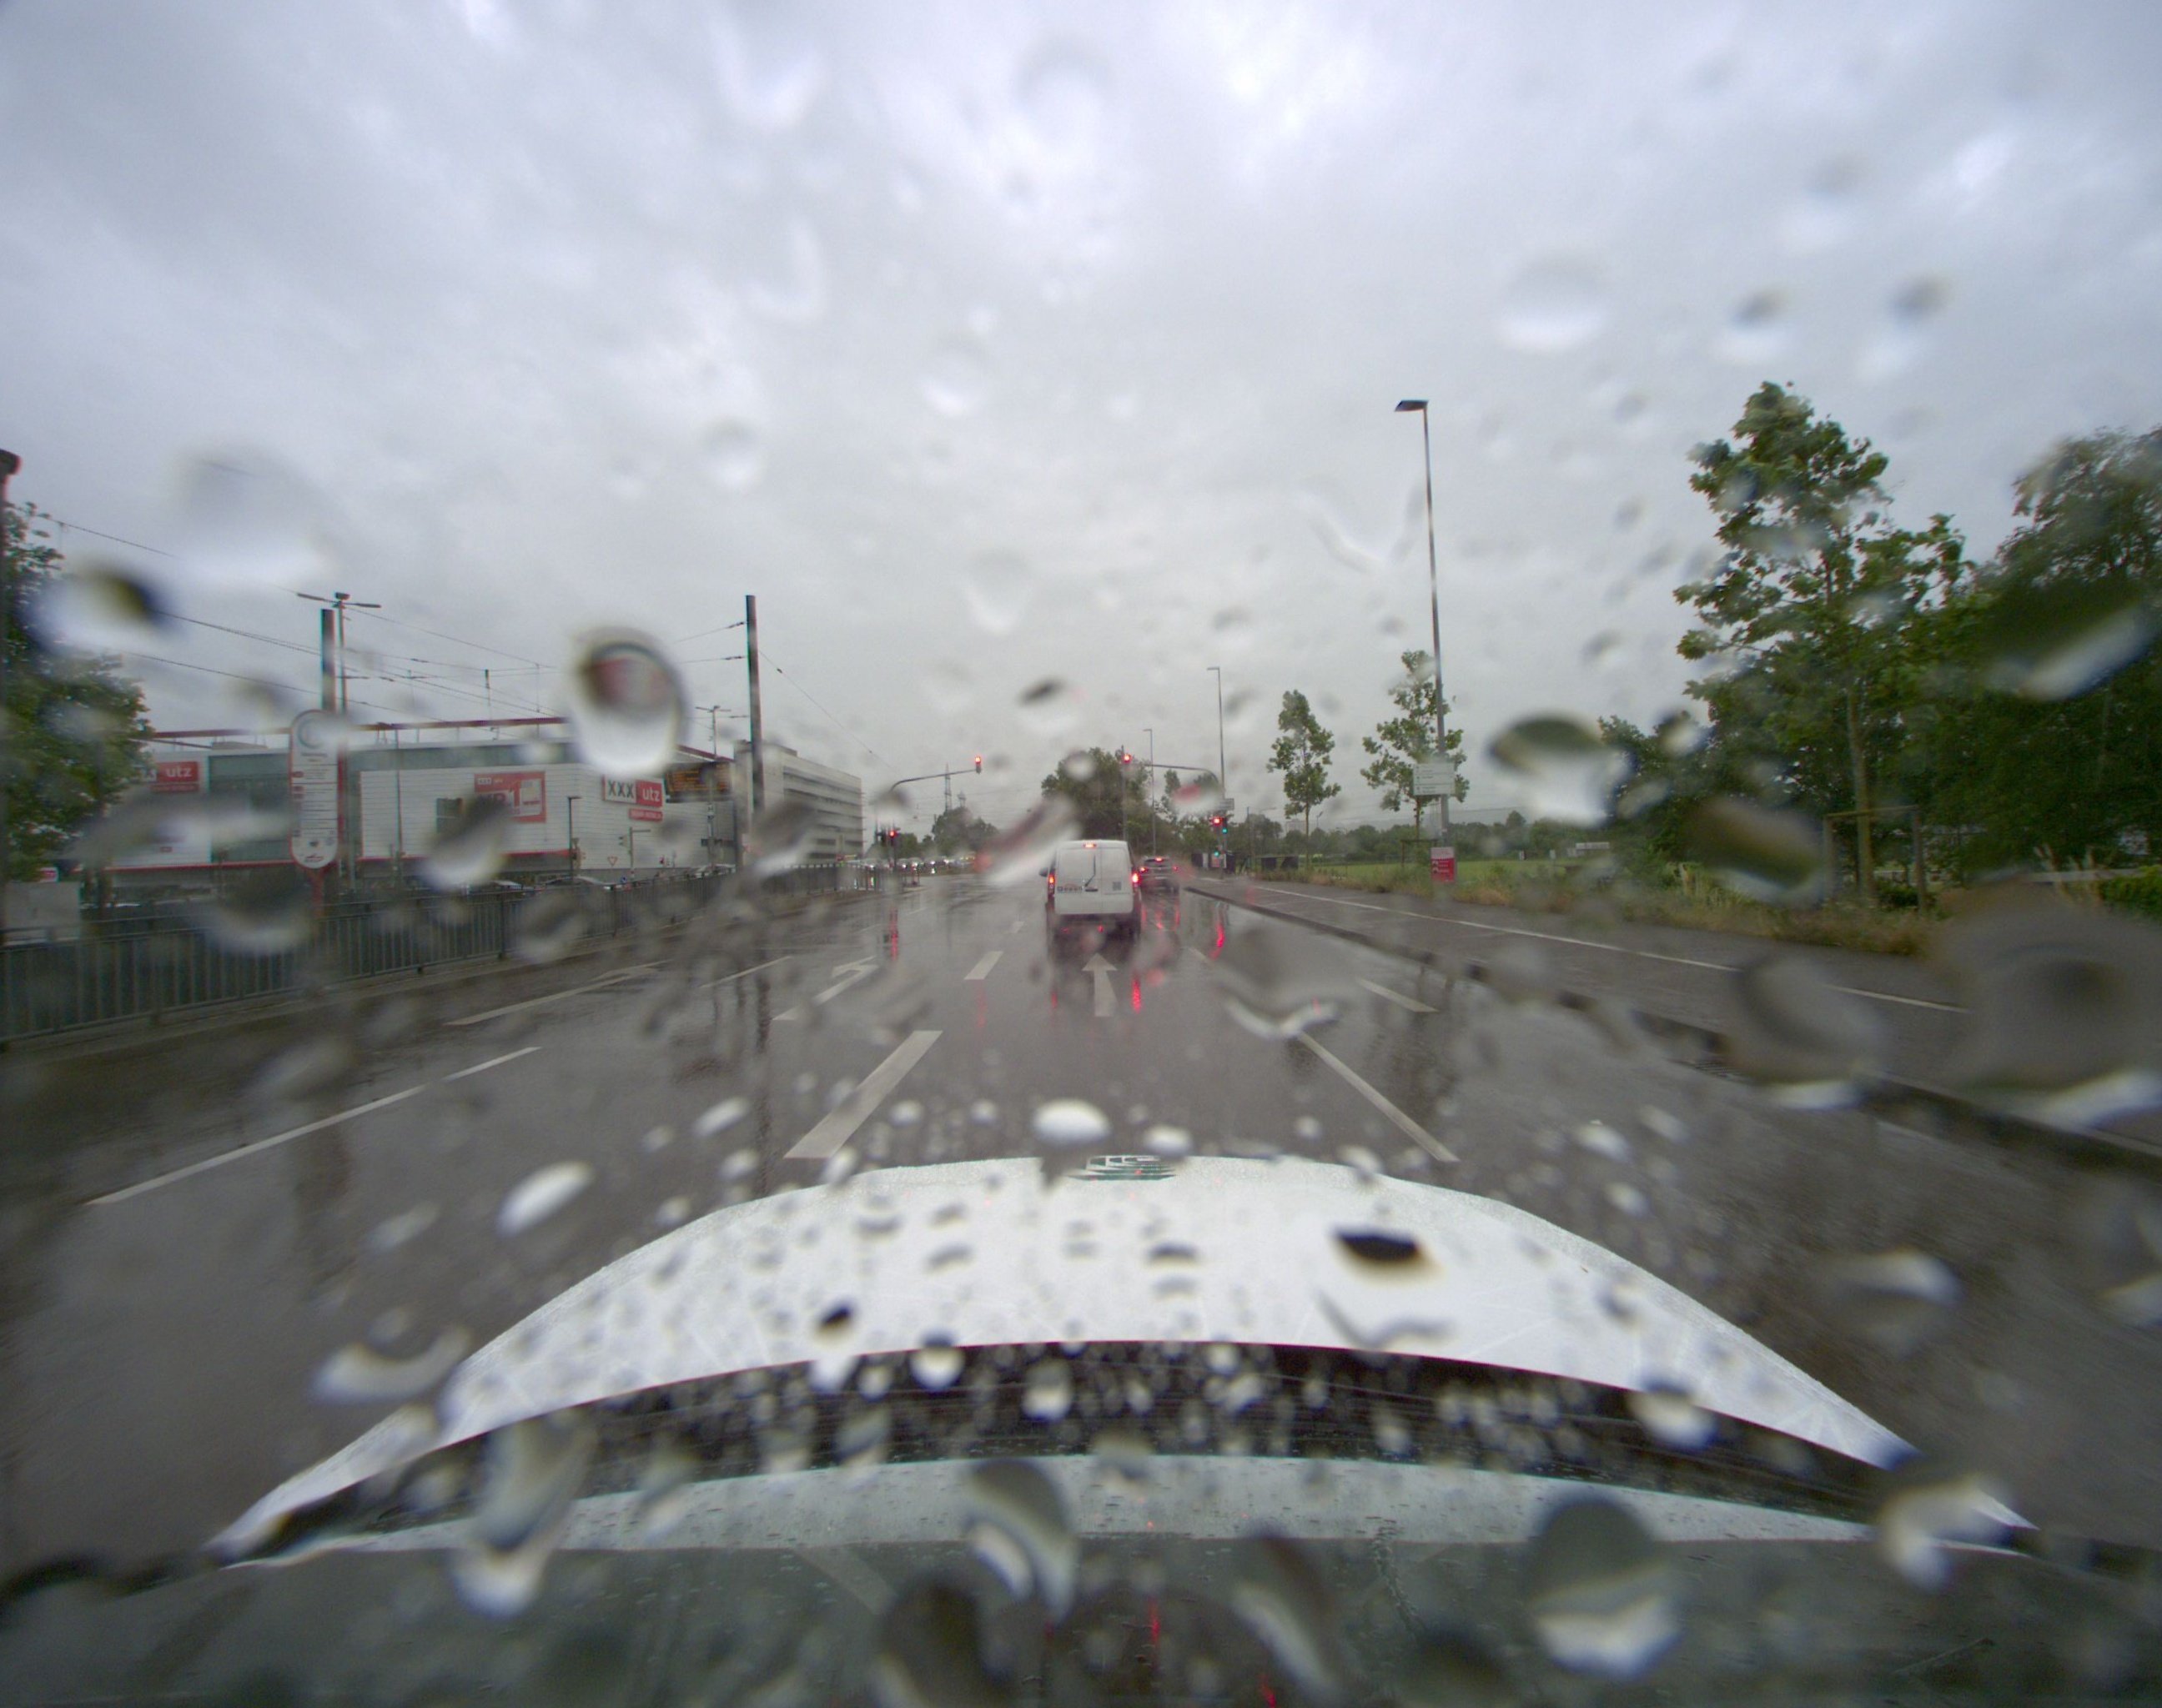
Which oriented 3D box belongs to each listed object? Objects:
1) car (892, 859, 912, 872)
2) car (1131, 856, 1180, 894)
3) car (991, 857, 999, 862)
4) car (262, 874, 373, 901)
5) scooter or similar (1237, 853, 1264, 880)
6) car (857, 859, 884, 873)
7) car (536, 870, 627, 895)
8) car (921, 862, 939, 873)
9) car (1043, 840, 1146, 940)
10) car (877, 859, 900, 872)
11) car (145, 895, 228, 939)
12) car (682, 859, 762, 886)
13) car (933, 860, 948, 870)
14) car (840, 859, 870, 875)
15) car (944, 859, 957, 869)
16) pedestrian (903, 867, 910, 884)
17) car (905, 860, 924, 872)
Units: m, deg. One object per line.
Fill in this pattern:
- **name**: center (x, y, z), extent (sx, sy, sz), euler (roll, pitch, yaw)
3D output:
- **car**: center (-21.076, 1.388, 96.194), extent (1.554, 1.426, 3.568), euler (0, -1, 0)
- **car**: center (3.094, 0.840, 34.466), extent (1.679, 1.508, 3.919), euler (0, -1, -1)
- **car**: center (-21.779, 1.407, 206.918), extent (1.554, 1.426, 3.568), euler (0, -1, 0)
- **car**: center (-44.153, 1.953, 47.185), extent (4.262, 1.502, 1.814), euler (1, -2, -12)
- **scooter or similar**: center (8.037, 0.554, 38.805), extent (0.688, 1.211, 3.021), euler (-2, 0, 1)
- **car**: center (-21.114, 1.209, 81.881), extent (1.705, 1.426, 3.808), euler (0, -1, 0)
- **car**: center (-29.141, 1.658, 47.586), extent (4.176, 1.451, 1.715), euler (0, -2, -3)
- **car**: center (-20.323, 1.810, 109.993), extent (1.705, 1.426, 3.808), euler (0, -1, 0)
- **car**: center (0.143, 0.620, 16.465), extent (1.750, 1.750, 4.164), euler (-1, 0, -3)
- **car**: center (-21.041, 1.256, 89.116), extent (1.554, 1.426, 3.568), euler (0, -1, 0)
- **car**: center (-34.147, 2.358, 31.077), extent (3.385, 1.464, 1.595), euler (-1, -1, 33)
- **car**: center (-22.873, 1.199, 52.061), extent (4.462, 1.662, 1.941), euler (1, -2, -18)
- **car**: center (-20.742, 1.701, 120.102), extent (1.554, 1.426, 3.568), euler (0, -1, 0)
- **car**: center (-21.037, 1.213, 75.975), extent (1.705, 1.426, 3.808), euler (0, -1, 0)
- **car**: center (-21.143, 1.633, 132.187), extent (1.554, 1.426, 3.568), euler (0, -1, 0)
- **pedestrian**: center (-9.491, 1.160, 44.387), extent (0.314, 0.897, 0.380), euler (0, 0, -2)
- **car**: center (-20.998, 1.563, 102.679), extent (1.554, 1.426, 3.568), euler (0, -1, 0)
